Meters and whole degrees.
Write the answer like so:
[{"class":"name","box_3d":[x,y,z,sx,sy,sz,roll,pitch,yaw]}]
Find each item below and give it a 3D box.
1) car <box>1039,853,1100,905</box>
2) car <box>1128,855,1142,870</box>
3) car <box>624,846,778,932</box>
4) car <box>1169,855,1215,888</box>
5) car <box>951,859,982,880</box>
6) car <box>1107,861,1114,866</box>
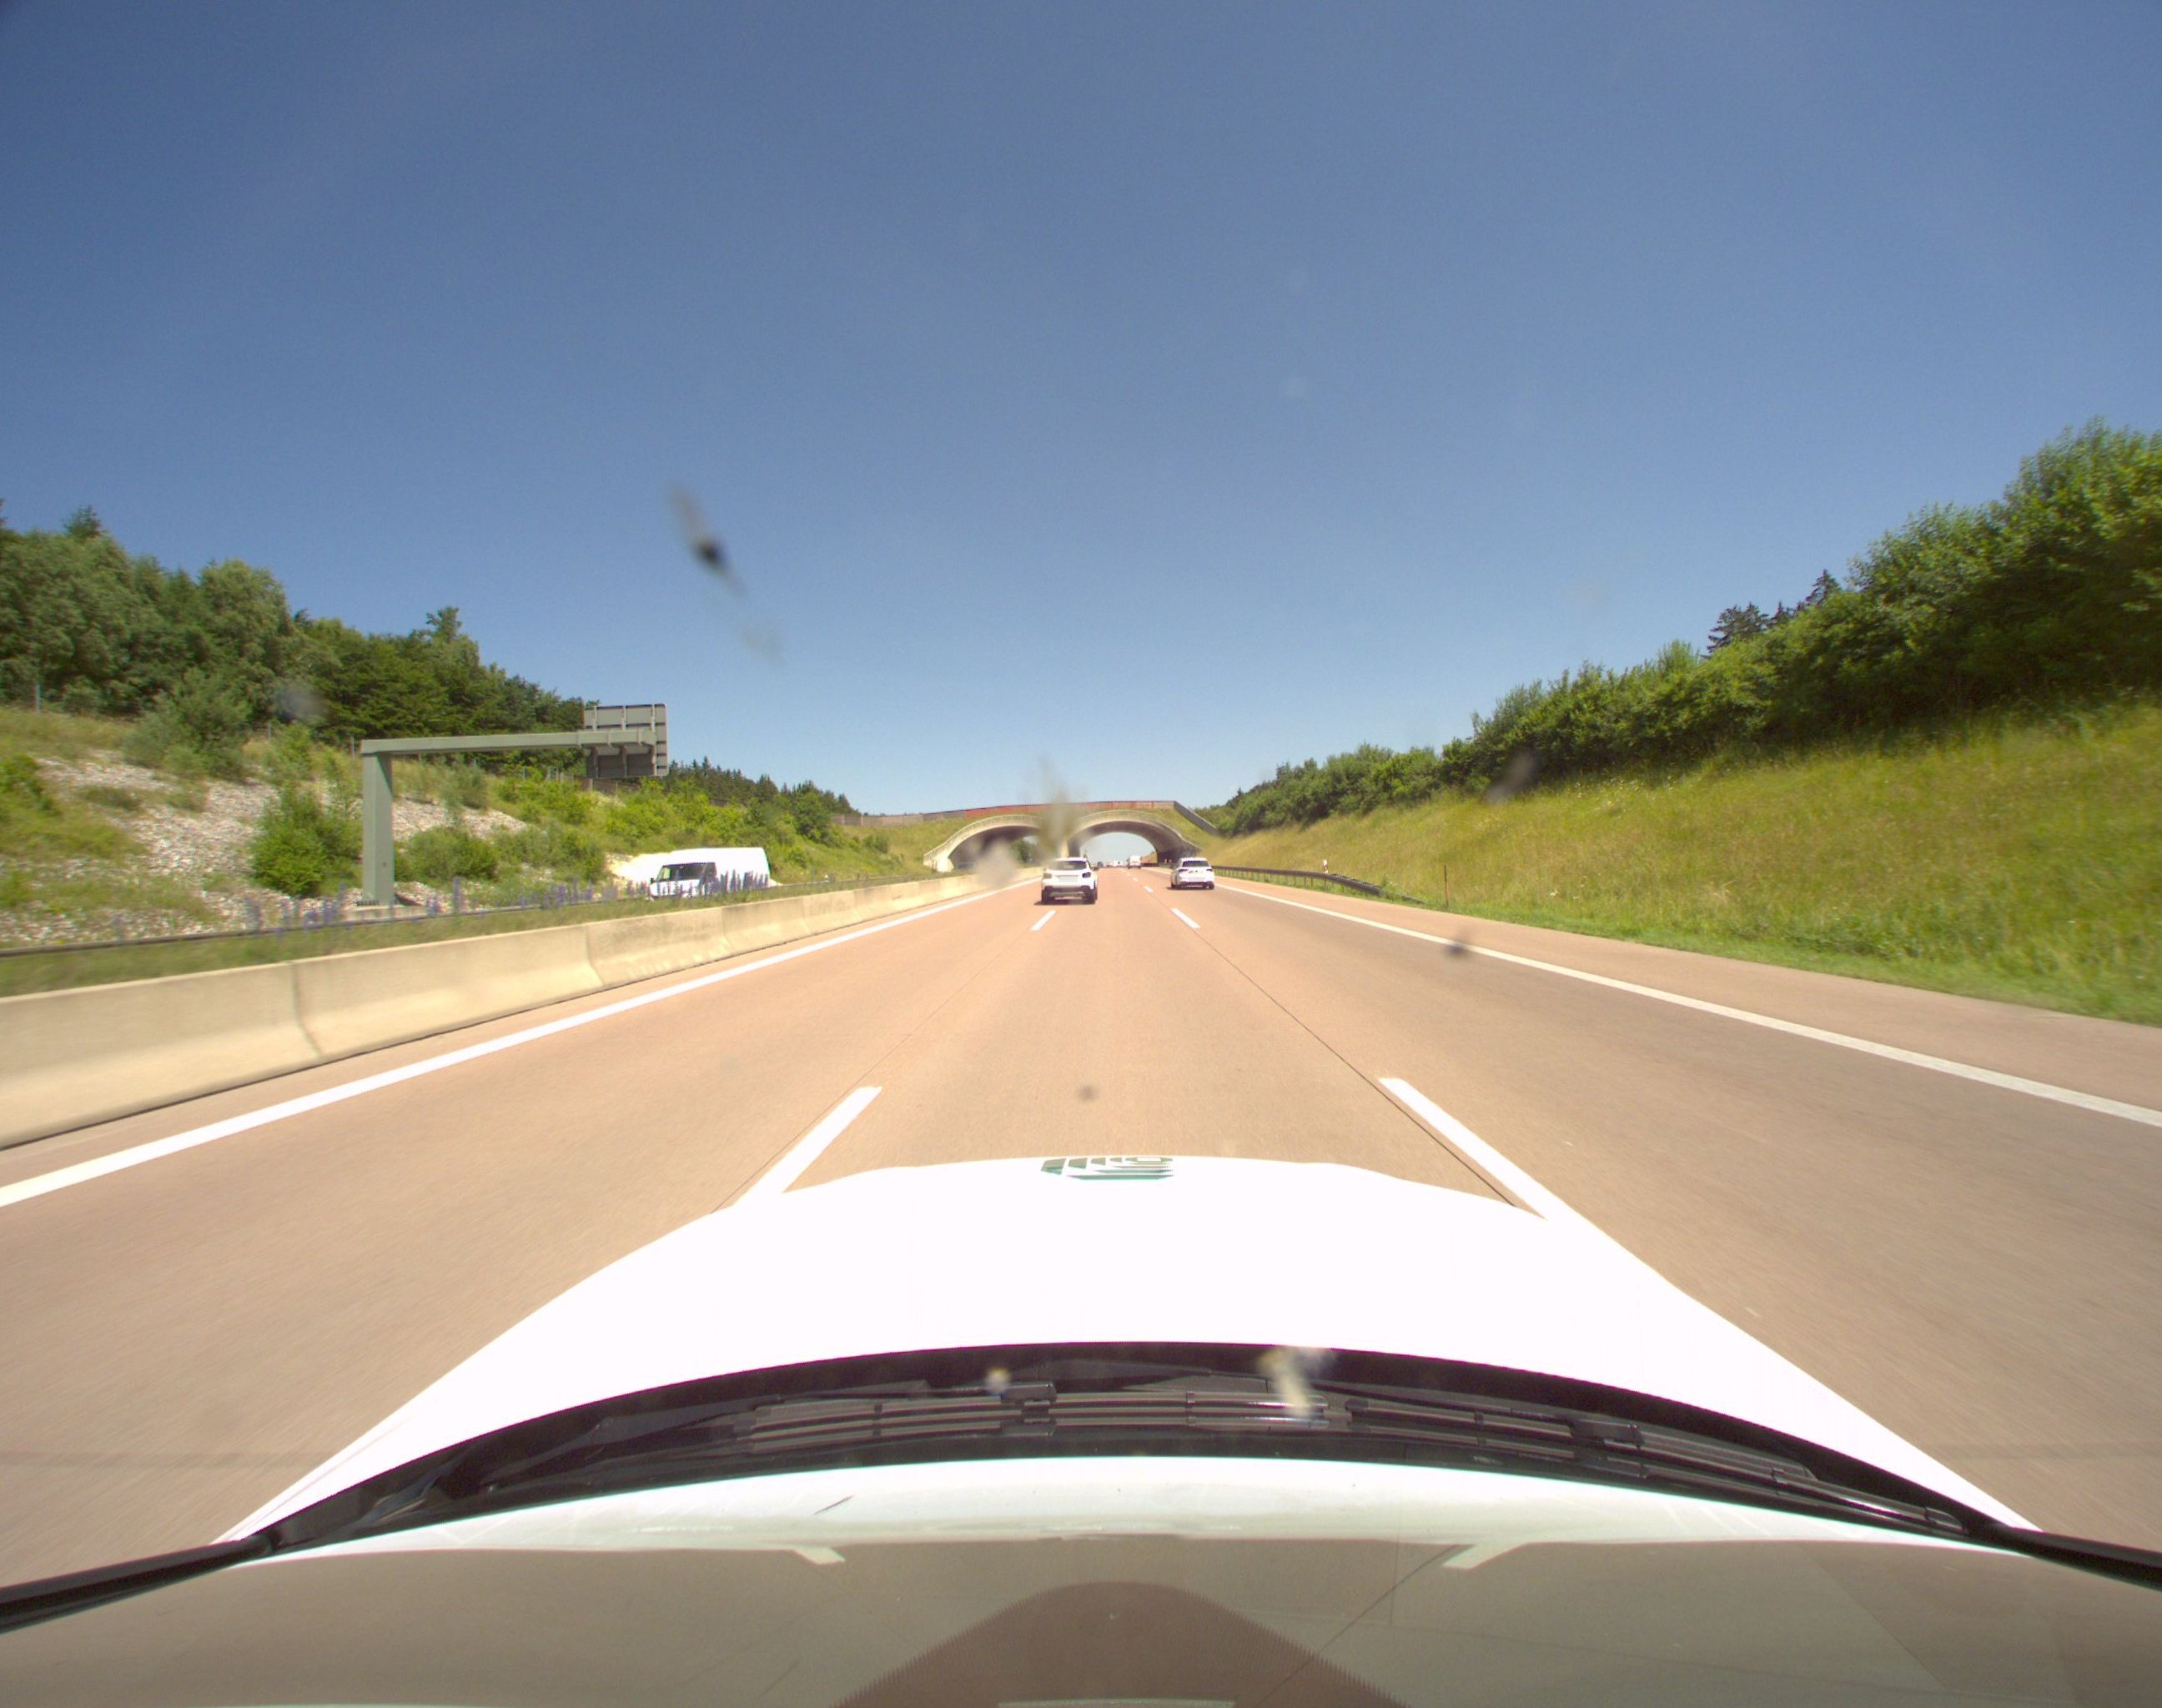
[{"class":"car","box_3d":[-0.319,0.783,28.328,1.872,1.607,4.836,-1,0,2]},{"class":"car","box_3d":[7.990,1.189,120.483,2.101,2.053,4.005,-1,1,4]},{"class":"car","box_3d":[-14.937,1.198,32.785,2.400,2.969,7.506,-1,1,2]},{"class":"car","box_3d":[5.140,0.780,38.143,1.882,1.398,4.004,0,1,4]},{"class":"car","box_3d":[-9.724,1.273,69.714,1.884,1.593,4.978,-1,1,0]},{"class":"car","box_3d":[8.882,2.985,245.564,1.883,1.463,4.002,0,0,2]}]
